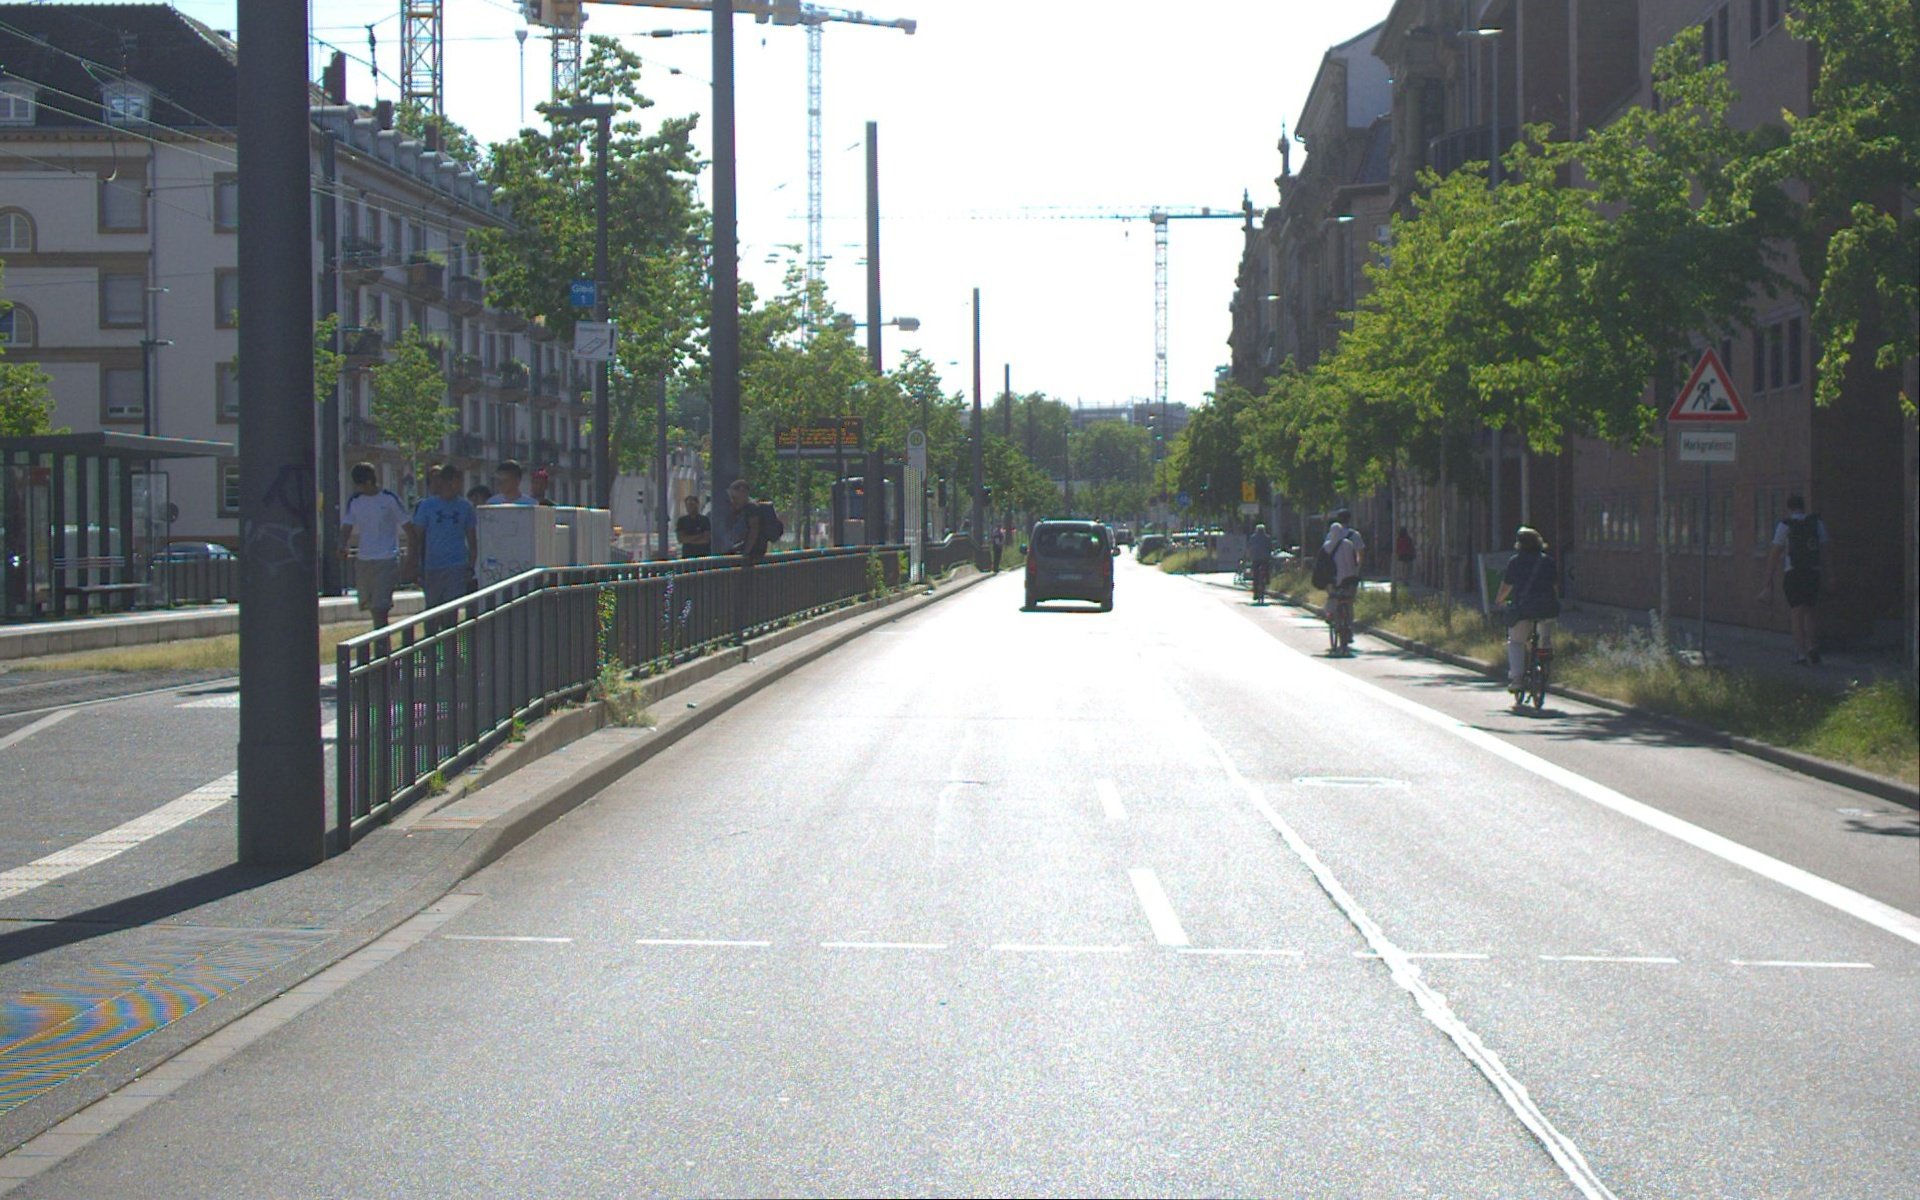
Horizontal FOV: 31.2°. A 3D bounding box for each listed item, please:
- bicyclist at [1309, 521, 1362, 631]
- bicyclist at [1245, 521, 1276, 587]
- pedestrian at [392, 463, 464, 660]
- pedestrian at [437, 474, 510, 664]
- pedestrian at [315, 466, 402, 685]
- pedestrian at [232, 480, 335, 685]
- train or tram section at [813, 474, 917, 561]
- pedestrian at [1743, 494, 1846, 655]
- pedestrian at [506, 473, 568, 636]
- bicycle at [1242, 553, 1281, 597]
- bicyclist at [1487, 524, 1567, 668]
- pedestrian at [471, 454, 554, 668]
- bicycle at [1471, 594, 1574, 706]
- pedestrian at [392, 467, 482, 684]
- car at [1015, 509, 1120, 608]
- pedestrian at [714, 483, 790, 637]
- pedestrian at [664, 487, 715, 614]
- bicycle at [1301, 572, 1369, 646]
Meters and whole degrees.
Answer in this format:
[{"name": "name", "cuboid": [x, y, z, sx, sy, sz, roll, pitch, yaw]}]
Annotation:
[{"name": "bicyclist", "cuboid": [5.243, -0.345, 48.039, 0.667, 1.521, 0.707, 0, 1, 0]}, {"name": "bicyclist", "cuboid": [6.915, -1.059, 79.111, 0.667, 1.521, 0.707, 0, 1, 0]}, {"name": "pedestrian", "cuboid": [-4.837, -0.356, 31.280, 0.538, 1.767, 0.633, -1, 1, 0]}, {"name": "pedestrian", "cuboid": [-4.024, -0.259, 28.466, 0.518, 1.546, 0.601, -1, 1, -2]}, {"name": "pedestrian", "cuboid": [-4.609, -0.191, 26.370, 0.510, 1.649, 0.762, -1, 1, 0]}, {"name": "pedestrian", "cuboid": [-5.258, -0.141, 26.771, 0.600, 1.561, 0.914, -1, 1, 0]}, {"name": "train or tram section", "cuboid": [-3.390, -3.072, 126.505, 2.327, 2.993, 13.158, 1, 2, 5]}, {"name": "pedestrian", "cuboid": [9.063, -0.284, 37.354, 0.880, 1.711, 0.931, -1, 1, 0]}, {"name": "pedestrian", "cuboid": [-4.340, -0.469, 35.287, 0.538, 1.649, 0.633, -1, 1, 0]}, {"name": "bicycle", "cuboid": [6.932, -0.579, 79.016, 0.667, 0.982, 2.586, 0, 1, 0]}, {"name": "bicyclist", "cuboid": [5.334, -0.044, 32.383, 0.592, 1.331, 0.933, 0, 1, 0]}, {"name": "pedestrian", "cuboid": [-3.507, -0.308, 26.996, 0.538, 1.649, 0.706, -1, 1, 0]}, {"name": "bicycle", "cuboid": [5.345, 0.457, 32.772, 0.603, 0.982, 2.315, 0, 1, 0]}, {"name": "pedestrian", "cuboid": [-4.064, -0.196, 26.760, 0.538, 1.649, 0.896, -1, 1, 0]}, {"name": "car", "cuboid": [2.176, -0.872, 70.277, 1.993, 1.941, 4.000, -1, 1, 0]}, {"name": "pedestrian", "cuboid": [-2.371, -0.460, 39.127, 0.716, 1.729, 0.602, -1, 1, -17]}, {"name": "pedestrian", "cuboid": [-3.545, -0.648, 45.084, 0.600, 1.649, 0.666, -1, 1, 0]}, {"name": "bicycle", "cuboid": [5.250, 0.111, 48.196, 0.667, 0.982, 2.586, 0, 1, 0]}]
